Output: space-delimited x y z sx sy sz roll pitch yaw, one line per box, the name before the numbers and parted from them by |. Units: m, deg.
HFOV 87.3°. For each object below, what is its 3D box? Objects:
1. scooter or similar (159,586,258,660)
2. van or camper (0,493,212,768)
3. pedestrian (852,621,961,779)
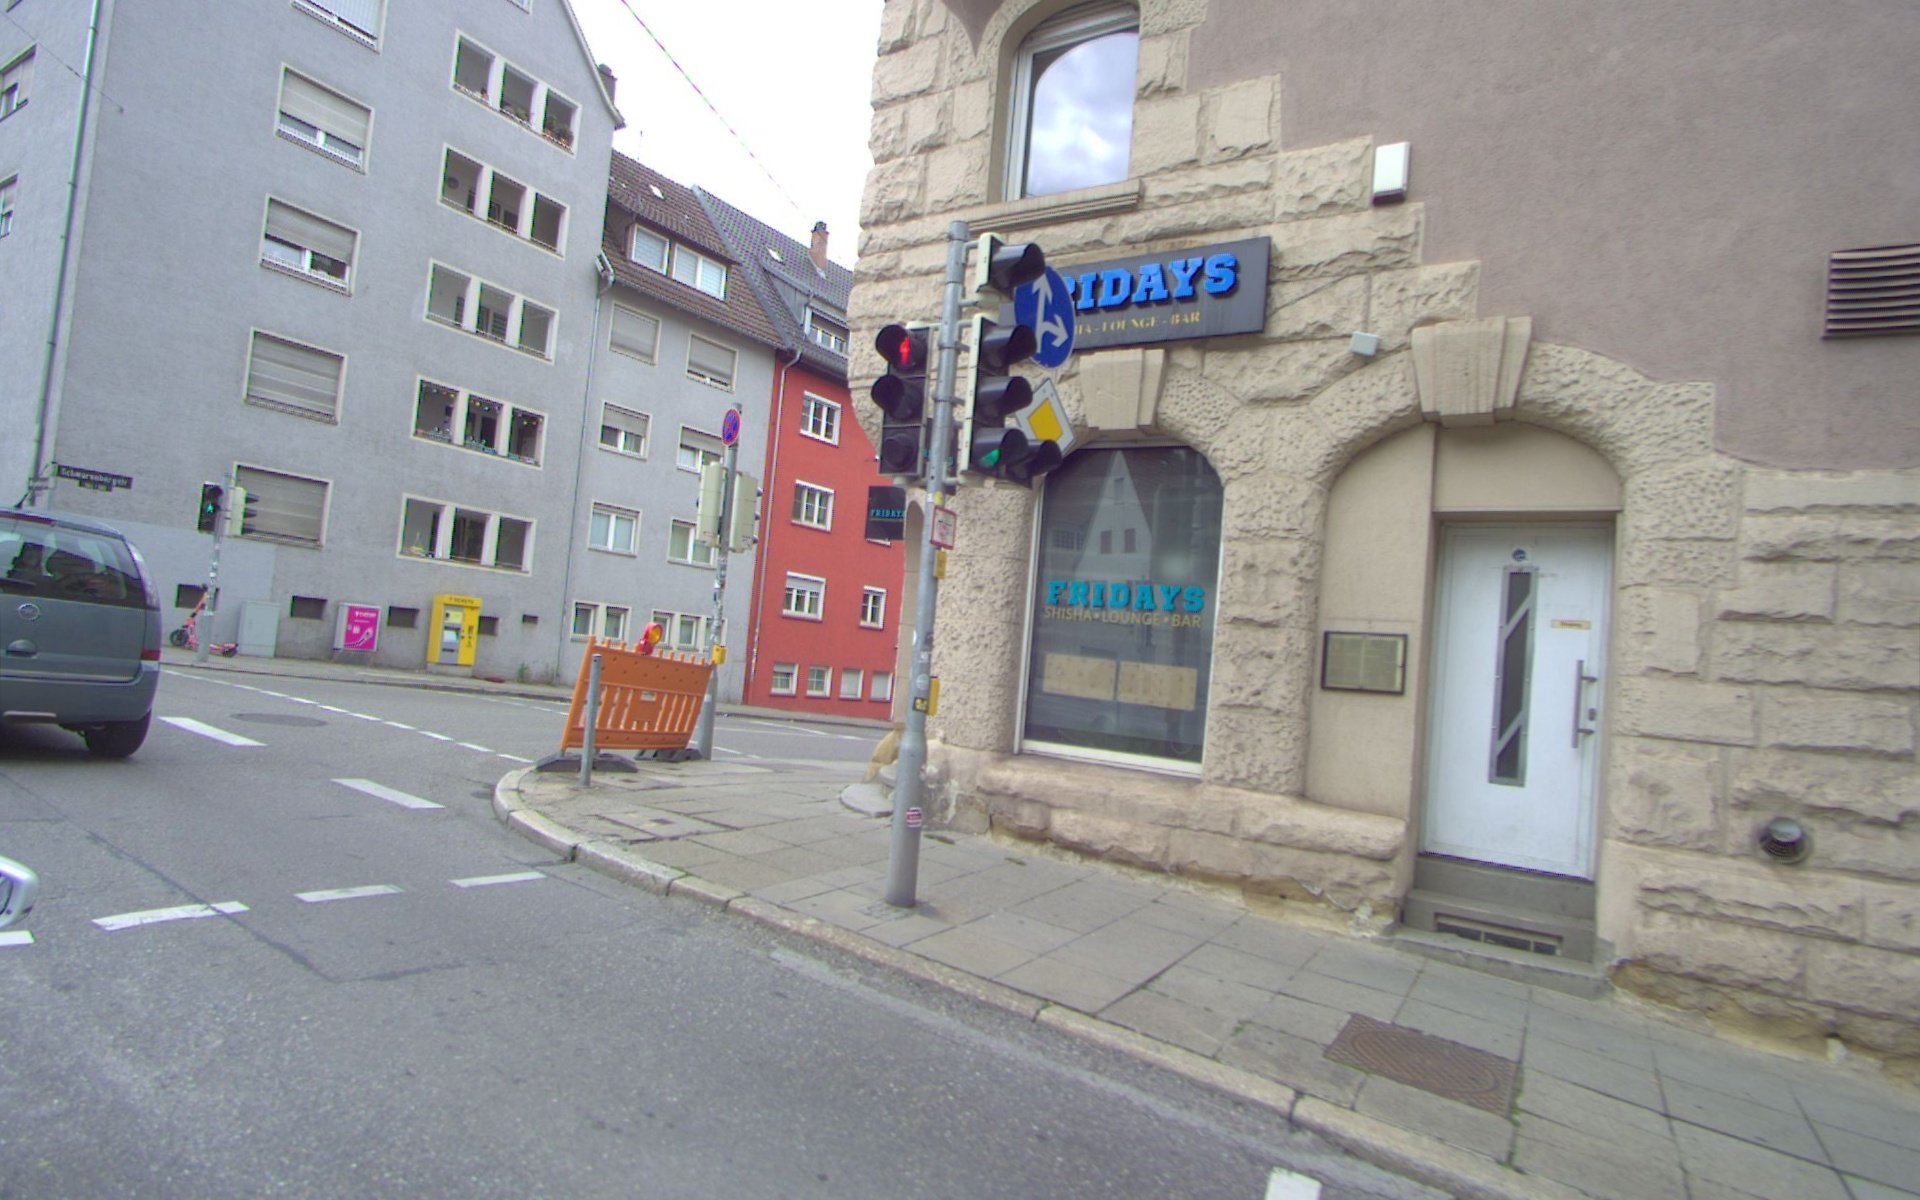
scooter or similar | -14.404 0.450 19.318 1.240 1.229 0.599 10 -4 -22
van or camper | -7.109 0.058 6.950 3.586 1.594 1.741 5 -5 32
pedestrian | -0.600 1.166 11.709 0.721 1.665 1.006 7 -3 19
